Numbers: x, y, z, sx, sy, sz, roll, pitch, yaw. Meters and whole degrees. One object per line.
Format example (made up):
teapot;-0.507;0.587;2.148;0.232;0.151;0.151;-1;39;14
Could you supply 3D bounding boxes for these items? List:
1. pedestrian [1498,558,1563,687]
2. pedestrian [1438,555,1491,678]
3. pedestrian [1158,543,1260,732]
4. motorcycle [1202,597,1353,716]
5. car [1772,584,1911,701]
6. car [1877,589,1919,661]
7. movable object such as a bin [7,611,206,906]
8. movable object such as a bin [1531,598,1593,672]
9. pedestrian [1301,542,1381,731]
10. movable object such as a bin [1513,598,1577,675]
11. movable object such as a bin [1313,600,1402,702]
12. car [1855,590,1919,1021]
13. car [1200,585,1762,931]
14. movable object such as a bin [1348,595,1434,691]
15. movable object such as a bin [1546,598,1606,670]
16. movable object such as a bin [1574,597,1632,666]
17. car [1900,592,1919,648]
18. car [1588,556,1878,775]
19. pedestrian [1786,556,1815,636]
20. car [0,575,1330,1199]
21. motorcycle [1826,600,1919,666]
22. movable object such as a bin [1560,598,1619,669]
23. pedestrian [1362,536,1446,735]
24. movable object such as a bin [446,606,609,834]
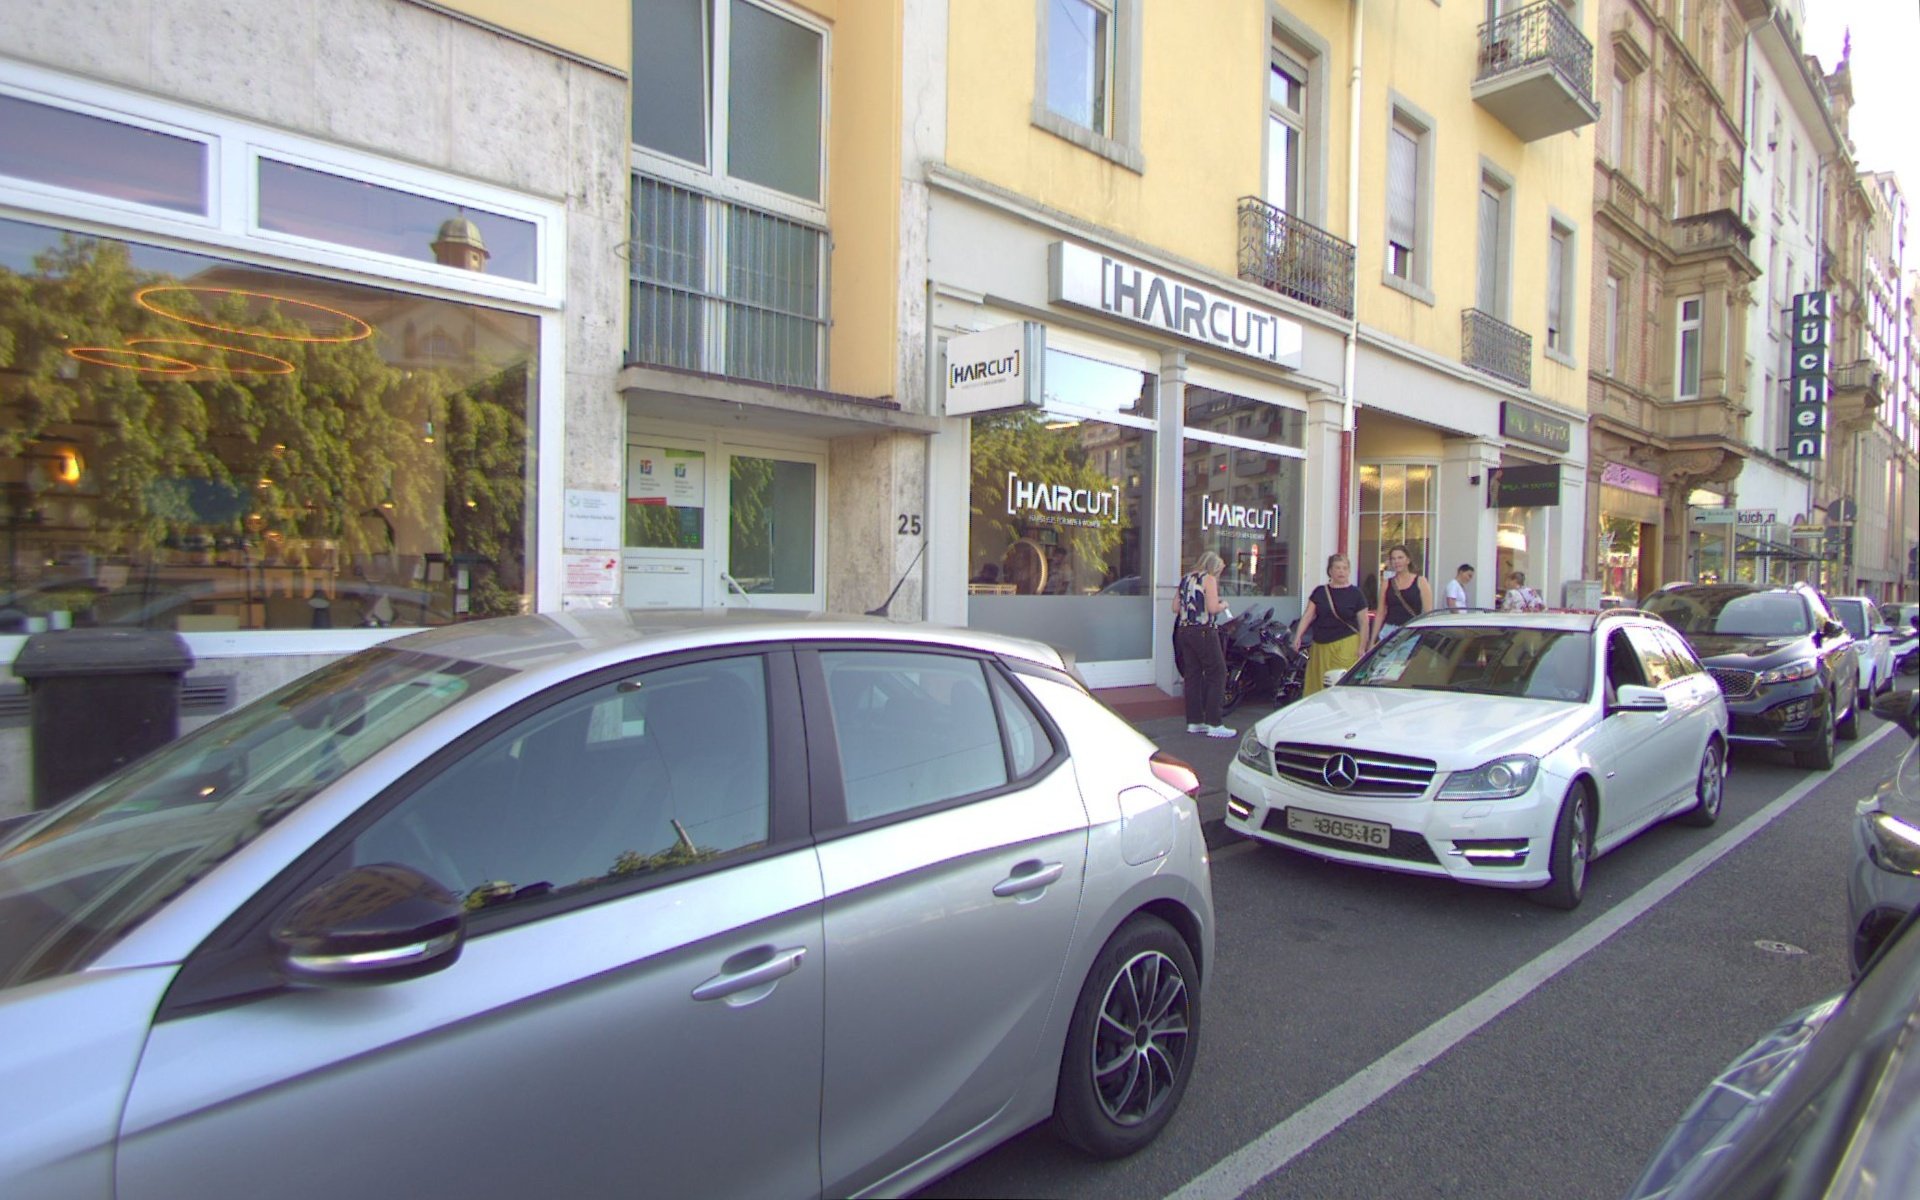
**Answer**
pedestrian;7.639;0.290;13.565;0.584;1.681;0.450;2;1;13
pedestrian;7.019;0.228;14.084;0.513;1.681;0.339;1;2;-17
pedestrian;2.294;0.317;9.332;0.523;1.653;0.697;0;2;-43
motorcycle;3.325;0.535;10.493;1.975;1.105;0.551;0;3;-42
car;12.844;0.545;14.713;2.748;1.537;1.273;0;1;-44
car;22.154;0.524;22.948;4.096;1.537;1.734;0;1;-44
movable object such as a bin;-3.665;0.619;4.364;0.609;1.080;0.704;0;4;-41
movable object such as a bin;9.305;0.527;15.651;0.608;1.079;0.606;0;4;-41
pedestrian;3.454;0.311;9.175;0.613;1.653;0.458;1;0;28
movable object such as a bin;8.816;0.534;15.245;0.608;1.079;0.606;0;4;-41
movable object such as a bin;4.475;0.556;11.399;0.608;1.054;0.661;1;3;-38
car;5.370;0.705;4.292;4.297;1.467;1.846;0;1;-41
car;3.543;0.656;6.442;4.387;1.465;1.741;0;1;-42
movable object such as a bin;5.030;0.487;11.818;0.608;1.037;0.669;0;3;-38
movable object such as a bin;9.763;0.521;16.045;0.608;1.079;0.606;0;4;-41
movable object such as a bin;10.731;0.516;16.883;0.608;1.079;0.606;0;4;-41
car;26.547;0.512;27.033;3.736;1.435;1.736;0;1;-41
car;8.033;0.502;10.341;4.498;1.758;1.756;0;1;-45
pedestrian;18.966;-0.101;22.824;0.473;1.785;0.434;0;0;-41
car;-0.871;0.675;2.445;4.008;1.445;1.672;0;1;-43
motorcycle;19.027;0.657;20.473;2.137;1.295;0.866;1;0;7
movable object such as a bin;10.234;0.528;16.452;0.608;1.079;0.606;0;4;-41
pedestrian;3.836;0.289;8.746;0.406;1.653;0.515;0;0;-33
movable object such as a bin;-2.359;0.602;5.503;0.609;1.080;0.704;0;4;-41
